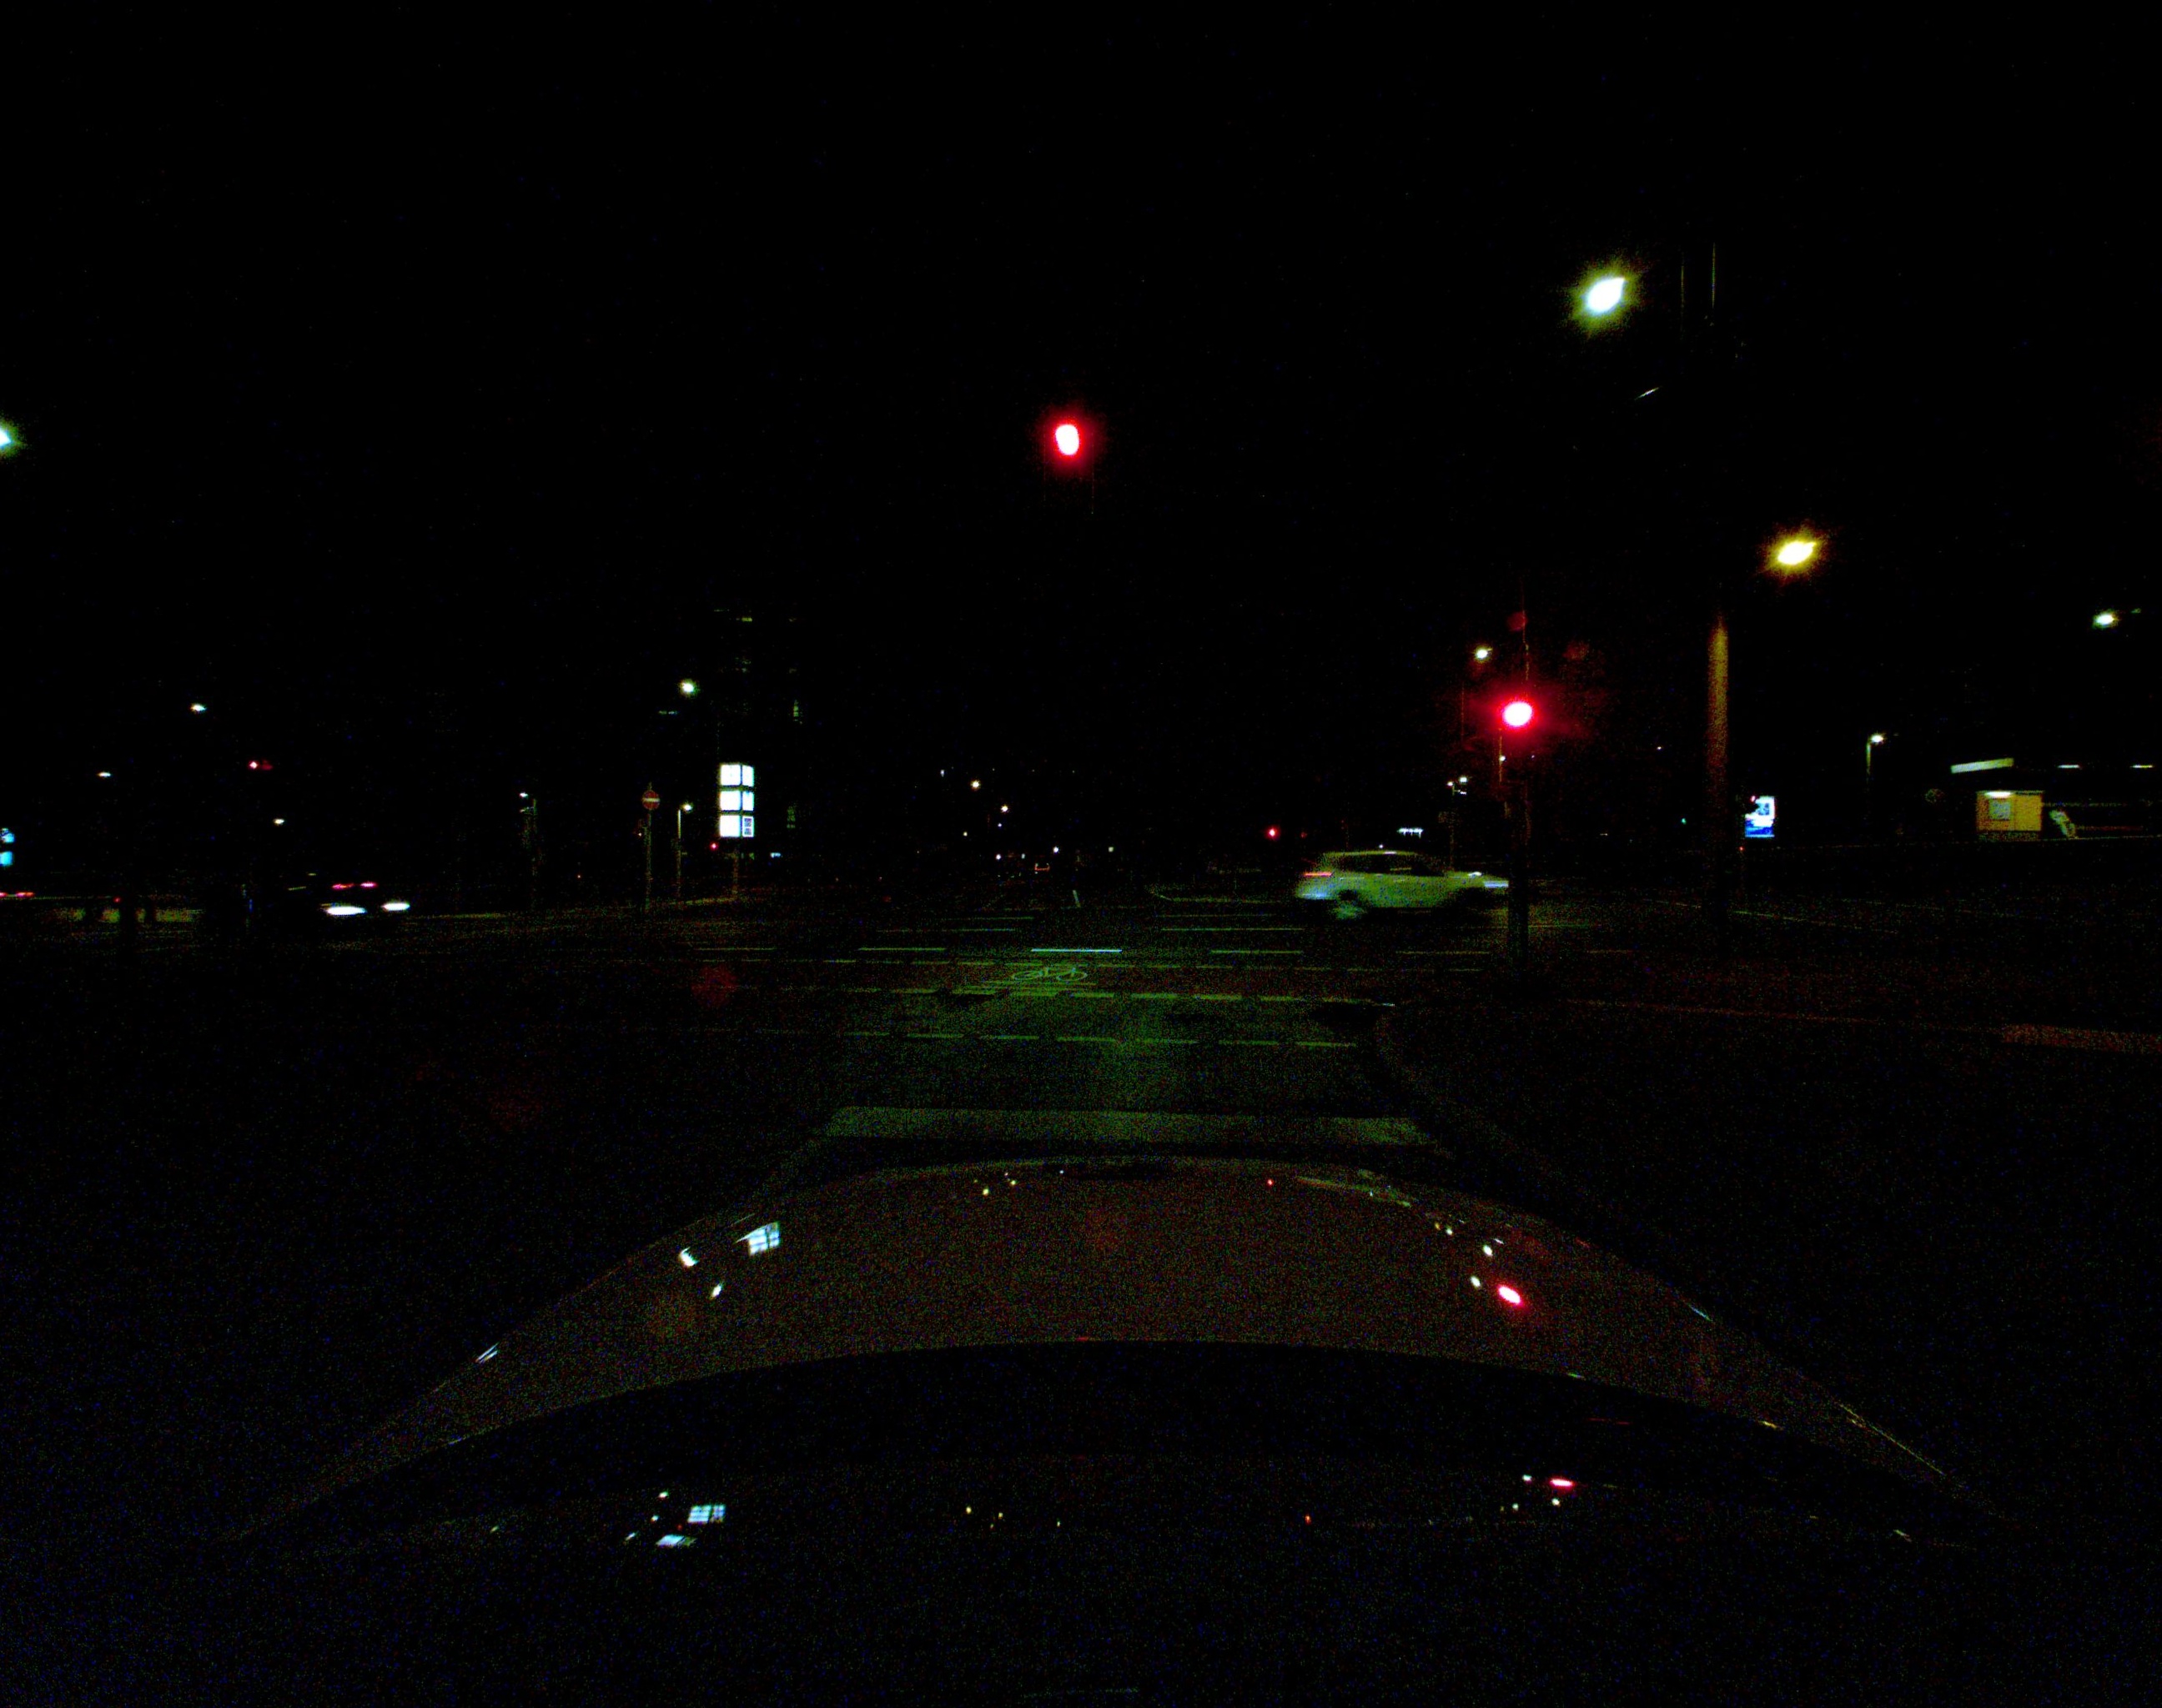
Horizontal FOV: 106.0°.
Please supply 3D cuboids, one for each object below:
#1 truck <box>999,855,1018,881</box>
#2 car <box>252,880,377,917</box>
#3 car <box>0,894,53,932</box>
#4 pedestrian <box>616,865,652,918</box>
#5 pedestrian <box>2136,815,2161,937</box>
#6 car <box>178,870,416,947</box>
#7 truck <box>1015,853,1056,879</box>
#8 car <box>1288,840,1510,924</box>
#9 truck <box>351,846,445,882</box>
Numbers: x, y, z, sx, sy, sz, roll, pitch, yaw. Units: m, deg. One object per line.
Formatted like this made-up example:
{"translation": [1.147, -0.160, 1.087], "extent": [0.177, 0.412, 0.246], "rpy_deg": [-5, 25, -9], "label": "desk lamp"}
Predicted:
{"translation": [-10.623, 1.960, 119.487], "extent": [2.580, 3.707, 5.723], "rpy_deg": [0, -1, -7], "label": "truck"}
{"translation": [-38.494, 2.224, 40.982], "extent": [4.595, 1.728, 2.003], "rpy_deg": [0, -1, 5], "label": "car"}
{"translation": [-61.828, 3.435, 46.391], "extent": [3.971, 2.014, 2.001], "rpy_deg": [-3, -1, 2], "label": "car"}
{"translation": [-13.926, 1.150, 25.397], "extent": [0.667, 1.634, 0.862], "rpy_deg": [0, -1, -3], "label": "pedestrian"}
{"translation": [15.801, 0.296, 11.440], "extent": [0.752, 1.745, 0.834], "rpy_deg": [-3, -2, 1], "label": "pedestrian"}
{"translation": [-19.617, 1.336, 20.492], "extent": [4.323, 1.651, 1.812], "rpy_deg": [-3, -1, 4], "label": "car"}
{"translation": [-8.556, 2.227, 151.644], "extent": [4.835, 4.547, 12.591], "rpy_deg": [0, -1, -17], "label": "truck"}
{"translation": [7.002, 0.593, 18.281], "extent": [4.263, 1.683, 1.878], "rpy_deg": [-2, 1, 4], "label": "car"}
{"translation": [-59.758, 0.877, 71.363], "extent": [5.873, 3.088, 2.915], "rpy_deg": [0, -1, 3], "label": "truck"}
